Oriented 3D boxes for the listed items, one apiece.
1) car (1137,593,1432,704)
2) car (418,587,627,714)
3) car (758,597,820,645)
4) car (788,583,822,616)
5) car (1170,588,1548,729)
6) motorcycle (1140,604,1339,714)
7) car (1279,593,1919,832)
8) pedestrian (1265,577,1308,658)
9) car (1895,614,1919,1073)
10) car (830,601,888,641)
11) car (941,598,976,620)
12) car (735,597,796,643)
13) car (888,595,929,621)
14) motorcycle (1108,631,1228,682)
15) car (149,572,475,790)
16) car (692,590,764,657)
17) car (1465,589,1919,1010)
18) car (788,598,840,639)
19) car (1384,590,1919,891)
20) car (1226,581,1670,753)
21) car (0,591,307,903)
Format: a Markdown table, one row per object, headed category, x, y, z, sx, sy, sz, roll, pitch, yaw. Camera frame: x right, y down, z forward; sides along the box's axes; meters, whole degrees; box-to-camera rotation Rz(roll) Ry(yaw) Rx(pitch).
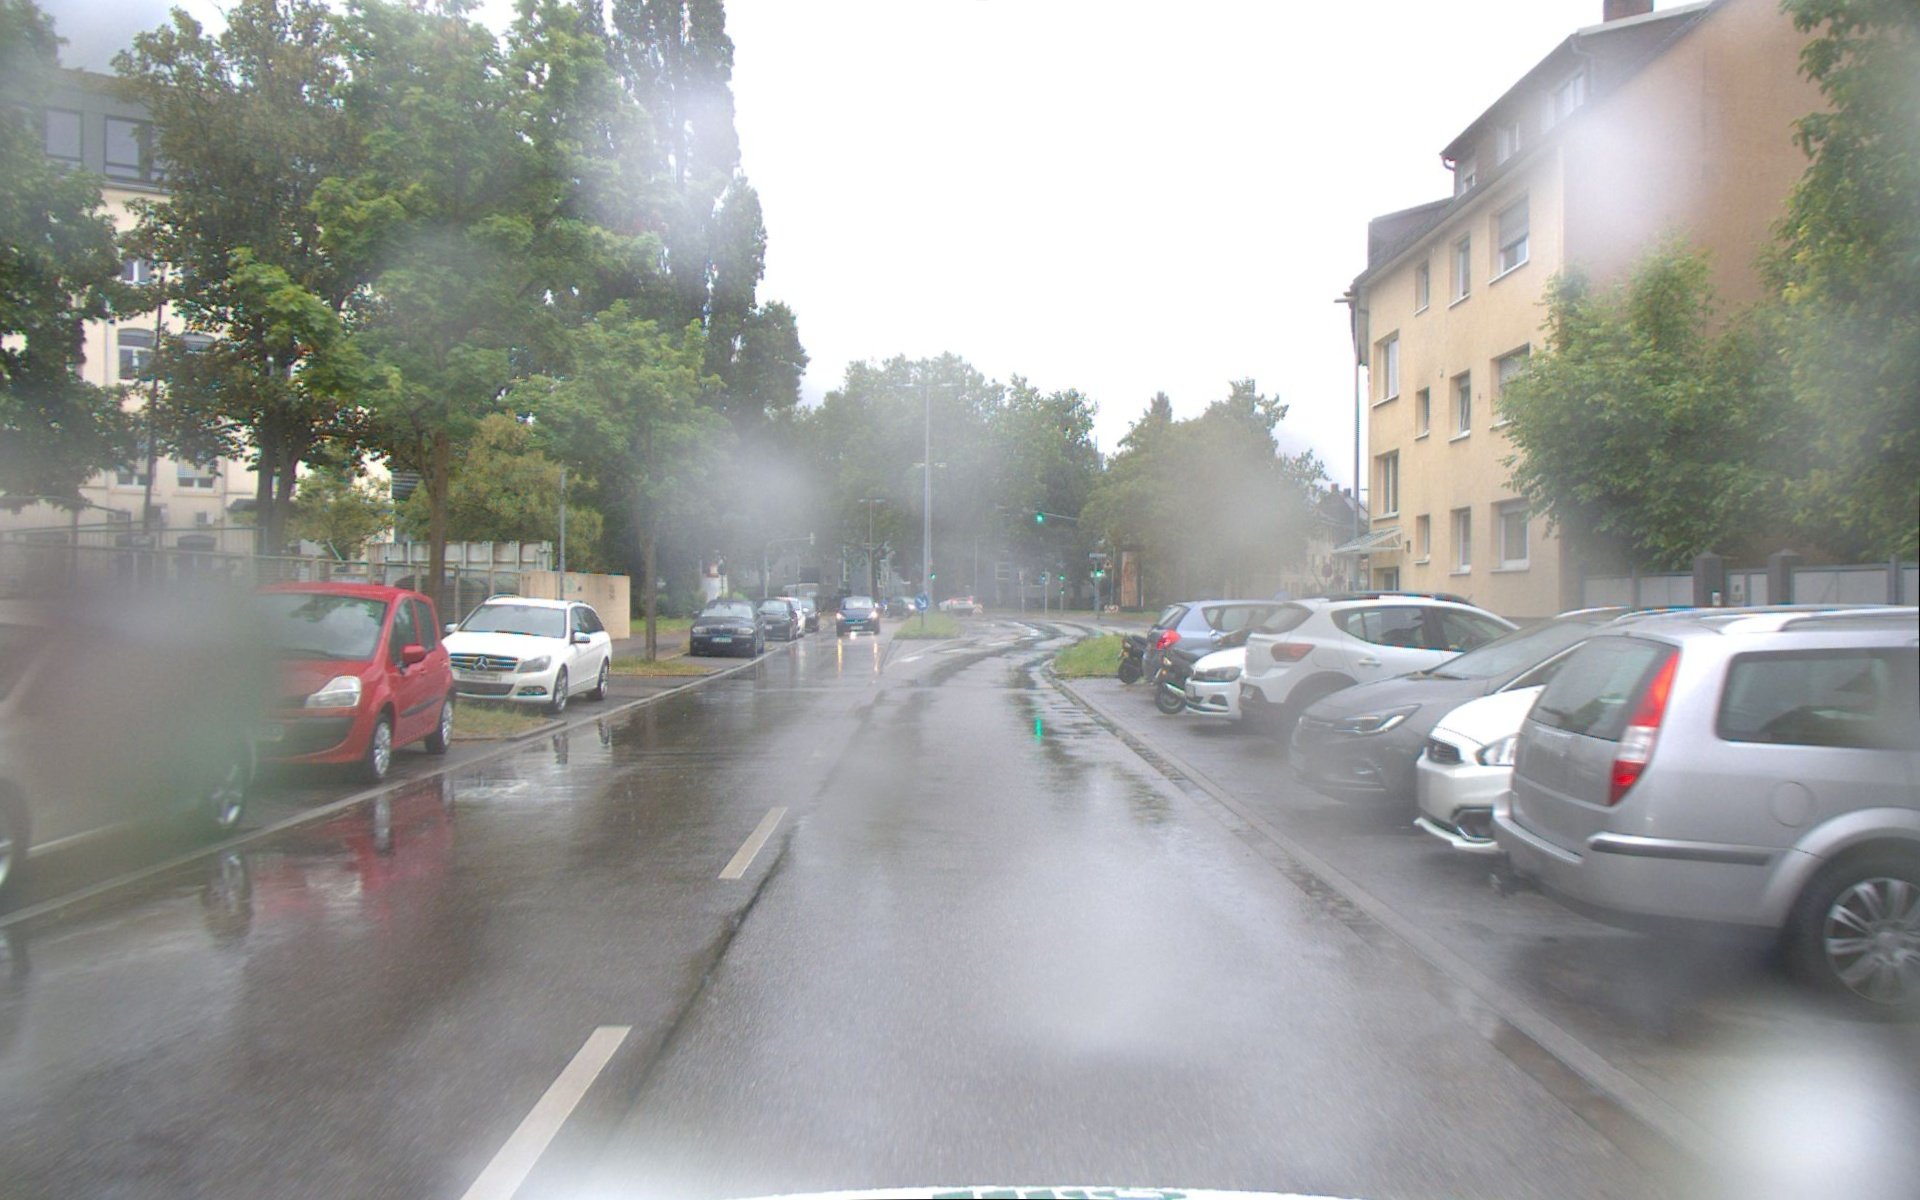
| category | x | y | z | sx | sy | sz | roll | pitch | yaw |
| --- | --- | --- | --- | --- | --- | --- | --- | --- | --- |
| car | 4.635 | 0.680 | 24.068 | 3.905 | 1.487 | 1.934 | 1 | 0 | 0 |
| car | -5.888 | 0.637 | 22.823 | 1.733 | 1.555 | 4.596 | 1 | 0 | -1 |
| car | -6.582 | 0.789 | 63.953 | 1.887 | 1.761 | 4.000 | 1 | 0 | 1 |
| car | -15.827 | -0.009 | 168.365 | 2.188 | 3.294 | 4.639 | 1 | 0 | -22 |
| car | 4.565 | 0.660 | 19.283 | 3.908 | 1.516 | 1.861 | 1 | 0 | -4 |
| motorcycle | 3.560 | 0.744 | 21.172 | 2.352 | 1.347 | 0.918 | 1 | -1 | -6 |
| car | 4.372 | 0.730 | 11.620 | 3.906 | 1.491 | 1.781 | 1 | 0 | -1 |
| pedestrian | 8.492 | 0.453 | 43.048 | 0.989 | 2.049 | 0.952 | 1 | -1 | 17 |
| car | 4.980 | 0.804 | 4.438 | 3.906 | 1.436 | 1.845 | 1 | 0 | -1 |
| car | -3.965 | 0.802 | 65.668 | 1.952 | 1.512 | 4.001 | 1 | 0 | 1 |
| car | -0.108 | 0.617 | 117.047 | 1.816 | 1.551 | 3.991 | 0 | 0 | -10 |
| car | -6.747 | 0.665 | 57.635 | 1.891 | 1.510 | 3.997 | 0 | 0 | -4 |
| car | -3.509 | 0.517 | 111.922 | 1.714 | 1.718 | 3.979 | 1 | 0 | -18 |
| motorcycle | 3.596 | 0.974 | 28.672 | 2.028 | 0.806 | 0.711 | 1 | 0 | 5 |
| car | -5.470 | 0.620 | 14.513 | 1.594 | 1.626 | 4.196 | 1 | 0 | -6 |
| car | -5.984 | 0.569 | 42.847 | 1.742 | 1.556 | 3.994 | 1 | 2 | -8 |
| car | 4.456 | 0.730 | 6.847 | 4.179 | 1.479 | 1.985 | 1 | 1 | 5 |
| car | -6.514 | 0.830 | 74.229 | 1.887 | 1.761 | 4.000 | 1 | 0 | 1 |
| car | 4.569 | 0.734 | 9.350 | 3.904 | 1.499 | 1.803 | 1 | 0 | 2 |
| car | 4.827 | 0.648 | 16.736 | 3.907 | 1.579 | 1.904 | 1 | 0 | -3 |
| car | -5.331 | 0.694 | 9.146 | 1.626 | 1.486 | 4.174 | 1 | 0 | 2 |
